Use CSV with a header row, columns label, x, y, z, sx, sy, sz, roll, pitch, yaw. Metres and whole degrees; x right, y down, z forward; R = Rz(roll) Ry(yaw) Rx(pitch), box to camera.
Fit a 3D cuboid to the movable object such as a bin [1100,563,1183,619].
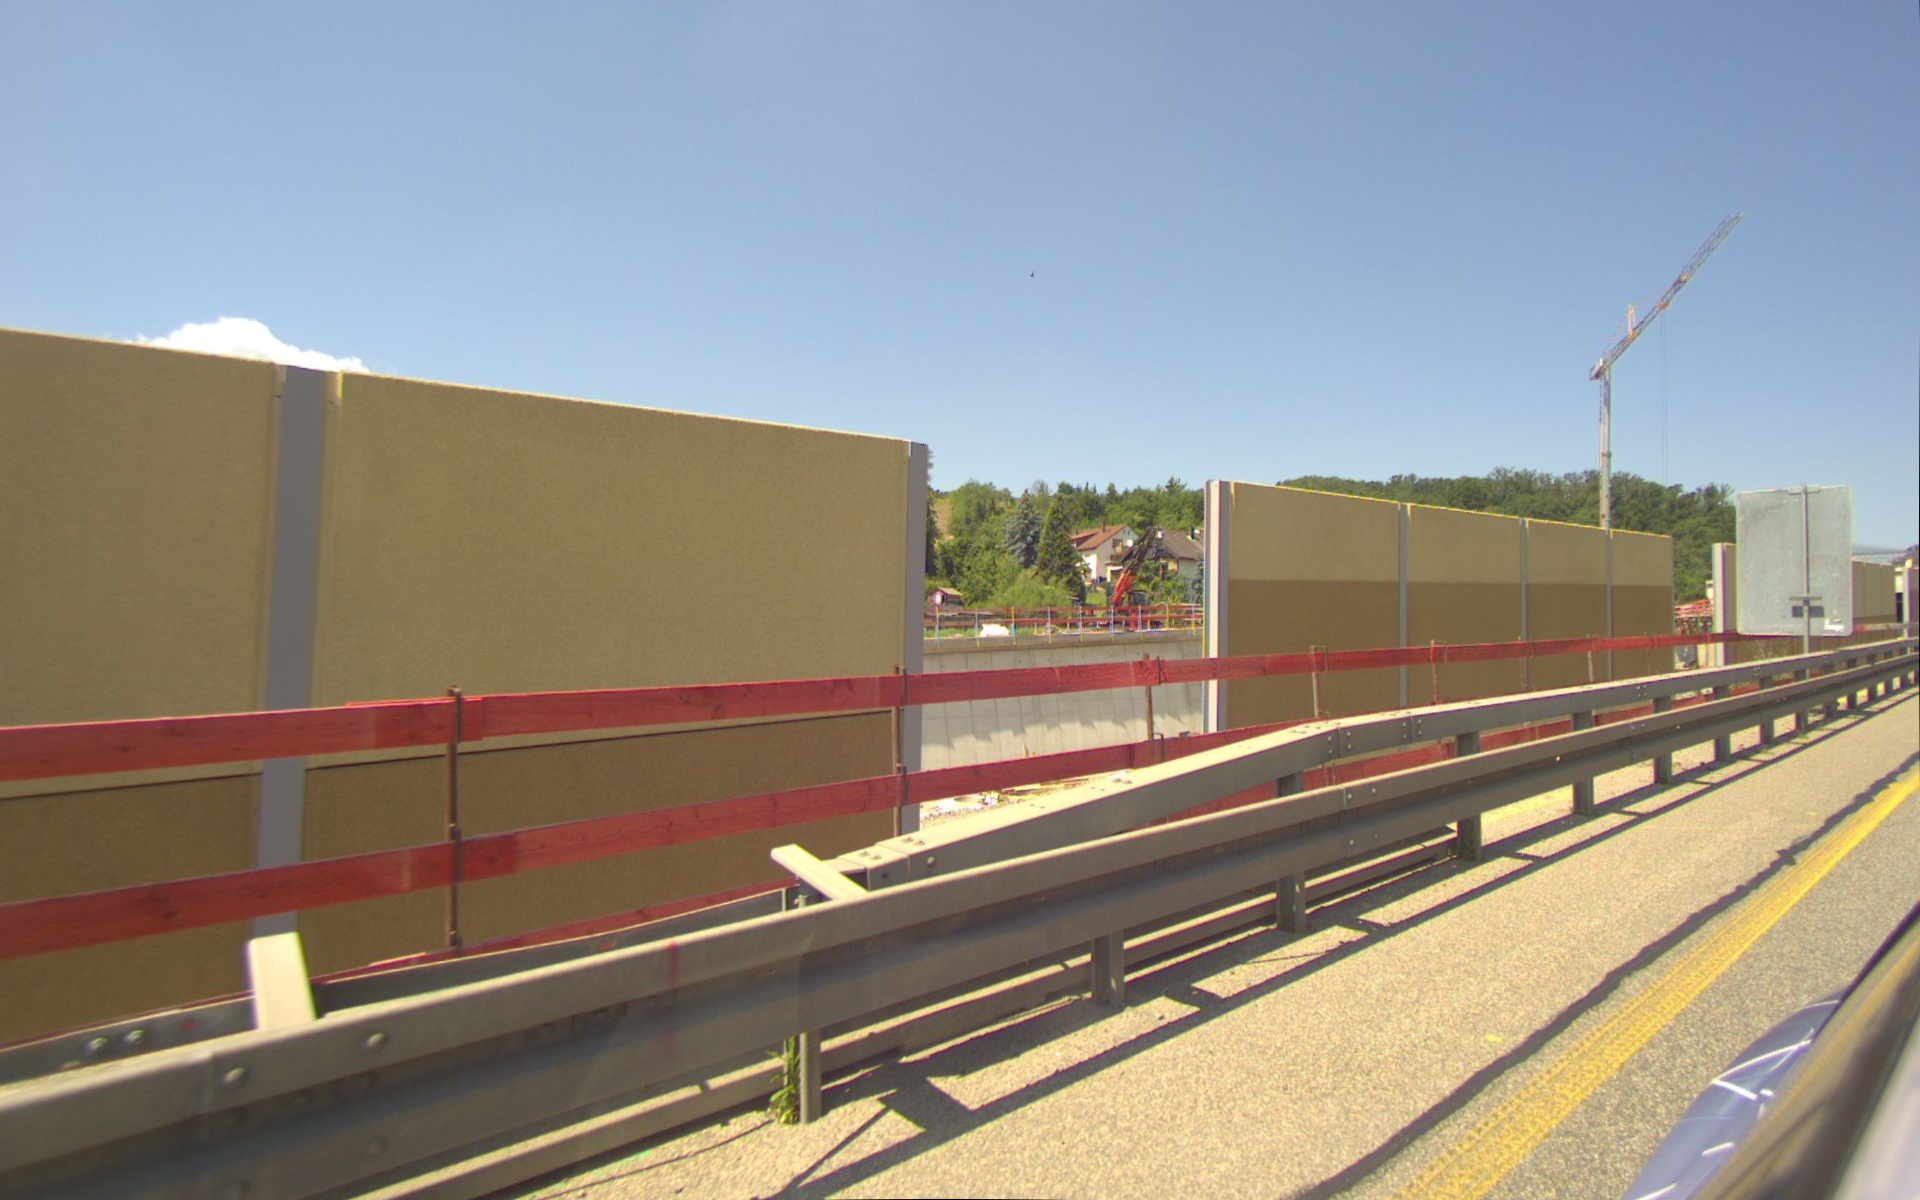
label,x,y,z,sx,sy,sz,roll,pitch,yaw
movable object such as a bin,10.568,-0.518,58.886,4.831,3.123,2.201,0,0,-40
